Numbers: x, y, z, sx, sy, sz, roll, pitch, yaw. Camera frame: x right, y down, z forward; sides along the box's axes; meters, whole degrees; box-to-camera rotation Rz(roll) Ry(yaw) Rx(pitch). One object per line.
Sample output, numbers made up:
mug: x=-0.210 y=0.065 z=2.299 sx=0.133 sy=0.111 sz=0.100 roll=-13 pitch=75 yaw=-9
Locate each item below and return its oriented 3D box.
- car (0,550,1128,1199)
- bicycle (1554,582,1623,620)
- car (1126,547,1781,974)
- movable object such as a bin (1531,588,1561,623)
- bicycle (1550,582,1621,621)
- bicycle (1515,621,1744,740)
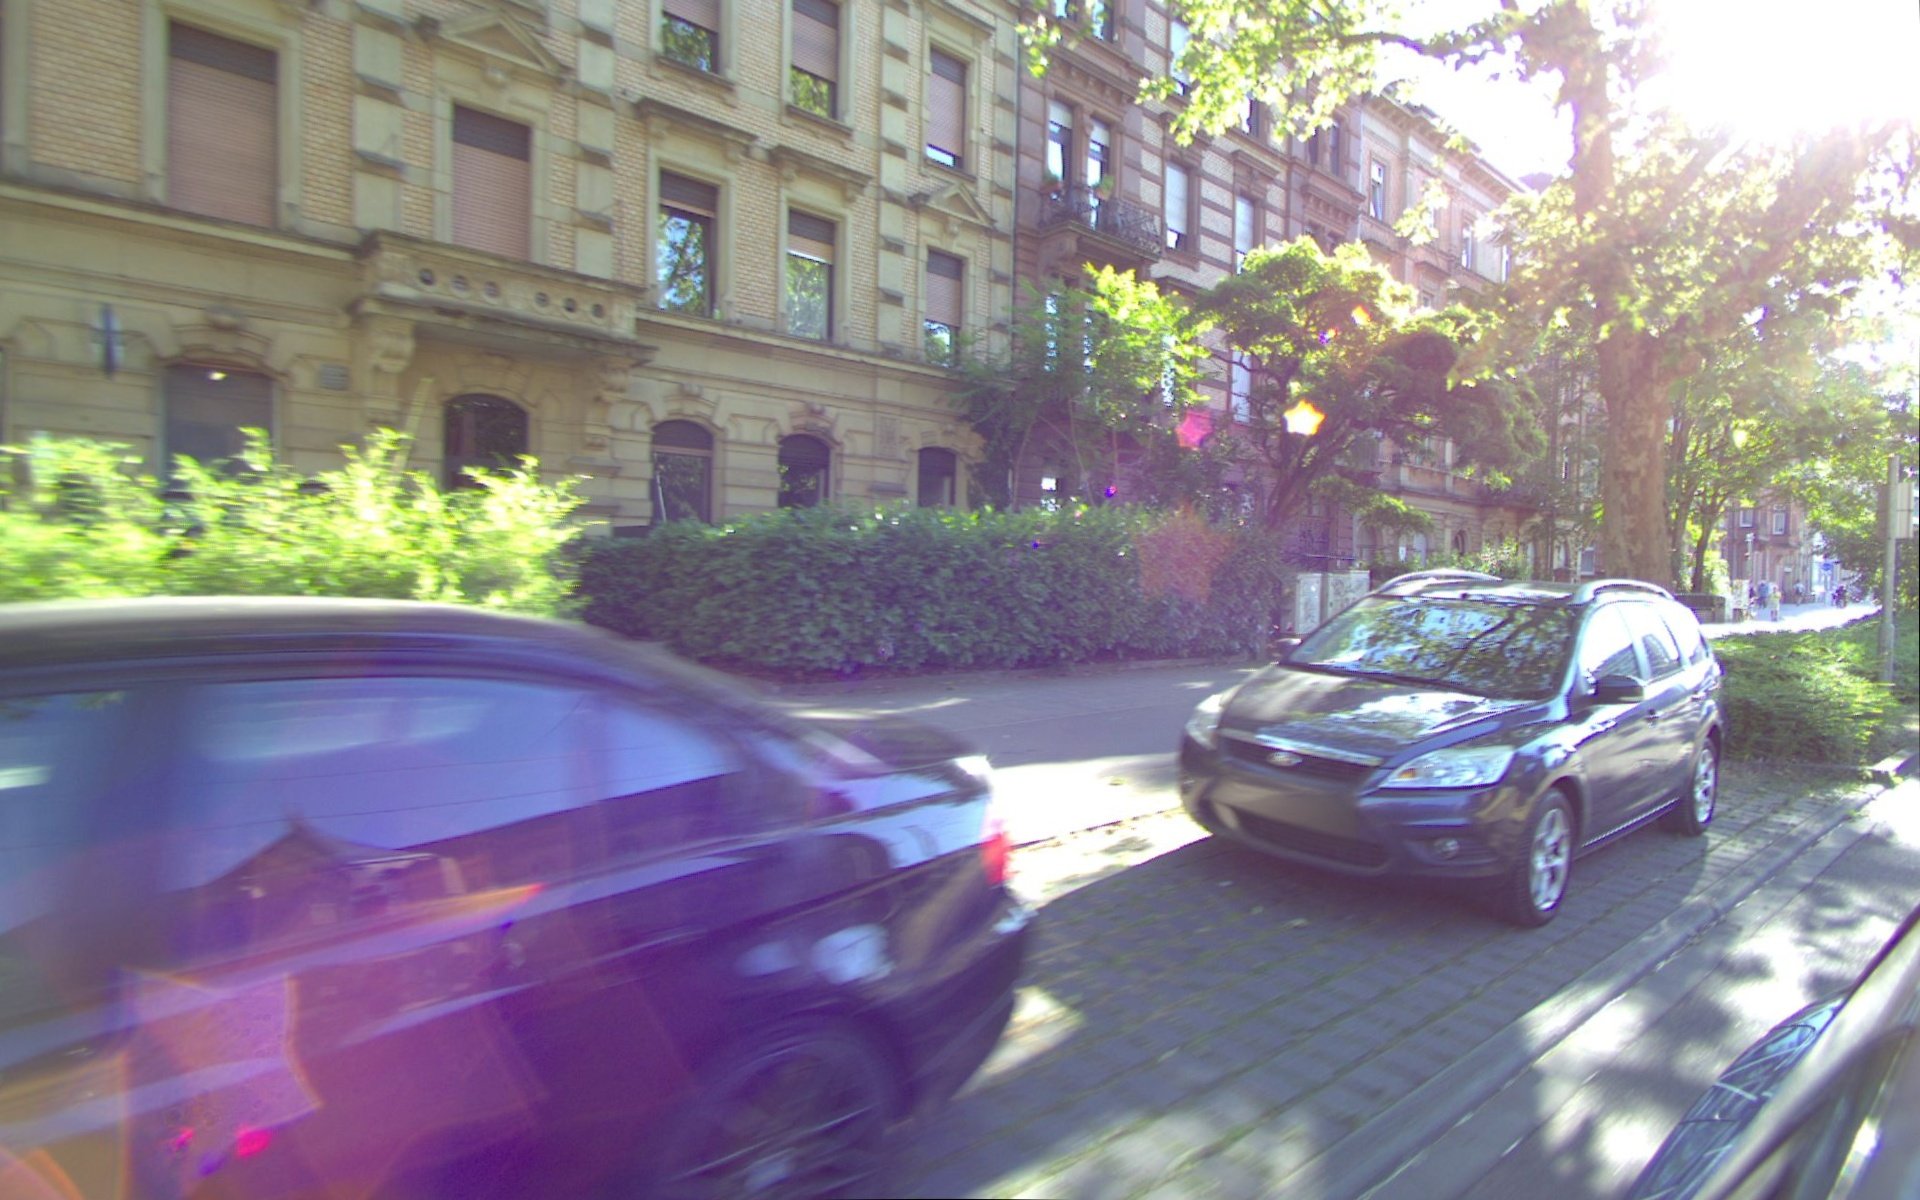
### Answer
car: x=-1.847 y=0.640 z=1.574 sx=4.491 sy=1.411 sz=1.679 roll=-1 pitch=4 yaw=-41
bicycle: x=19.037 y=0.032 z=30.664 sx=1.725 sy=1.108 sz=0.490 roll=-1 pitch=0 yaw=36
car: x=3.130 y=0.537 z=5.855 sx=4.640 sy=1.534 sz=1.679 roll=-1 pitch=3 yaw=-41
movable object such as a bin: x=15.441 y=0.150 z=26.653 sx=0.600 sy=0.910 sz=0.708 roll=-1 pitch=0 yaw=38
bicycle: x=18.443 y=0.039 z=29.852 sx=1.725 sy=1.108 sz=0.490 roll=-1 pitch=0 yaw=36
bicycle: x=5.809 y=0.677 z=8.858 sx=1.617 sy=0.974 sz=0.335 roll=-1 pitch=0 yaw=22
